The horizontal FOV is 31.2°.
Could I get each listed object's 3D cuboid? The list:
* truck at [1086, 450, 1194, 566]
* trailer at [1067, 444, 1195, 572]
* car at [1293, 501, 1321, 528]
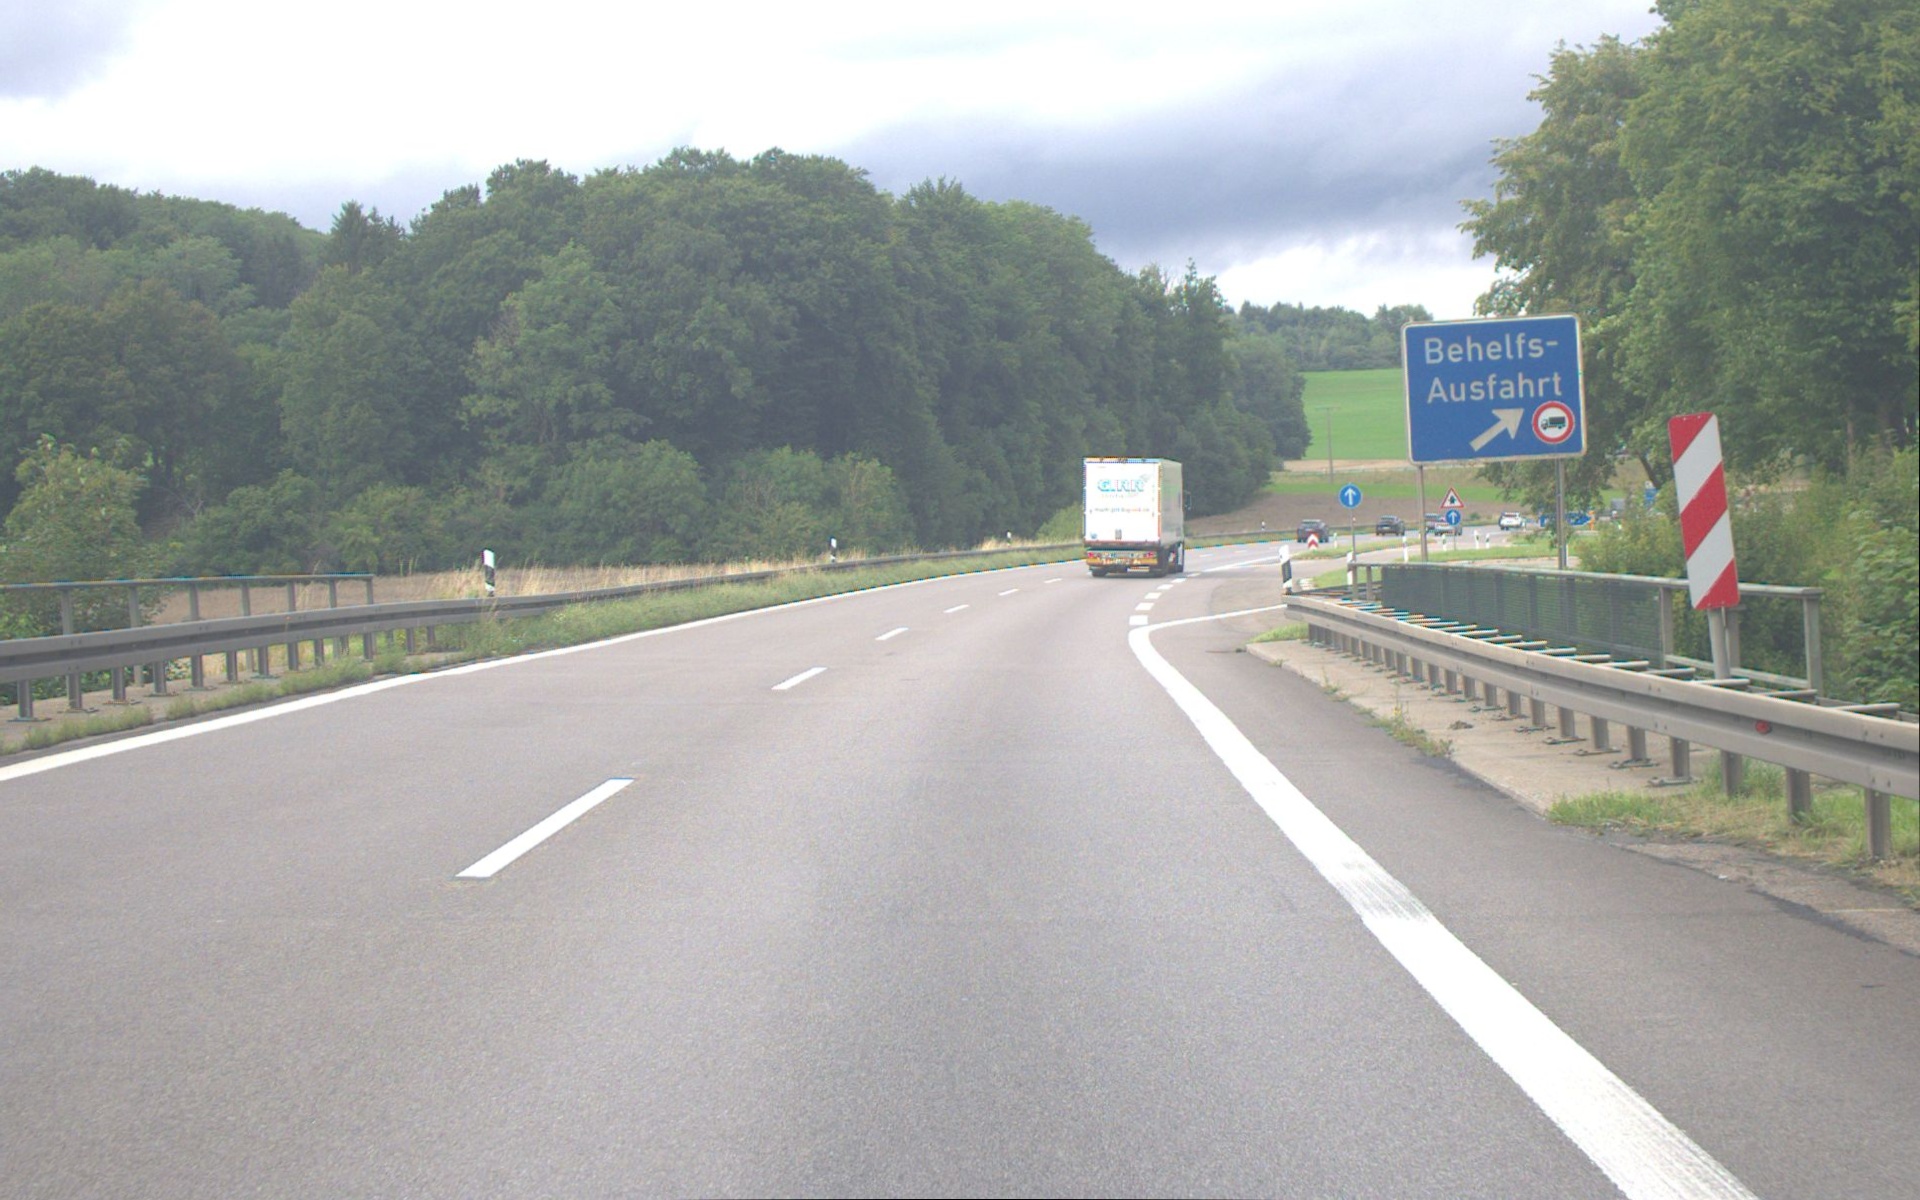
[{"bbox_3d":[6.726,-3.403,127.088,3.788,4.117,8.264,0,2,4],"label":"truck"},{"bbox_3d":[6.069,-3.181,119.486,3.806,4.160,14.806,0,1,5],"label":"trailer"},{"bbox_3d":[24.494,-5.996,242.502,1.903,1.789,3.999,0,0,7],"label":"car"}]
